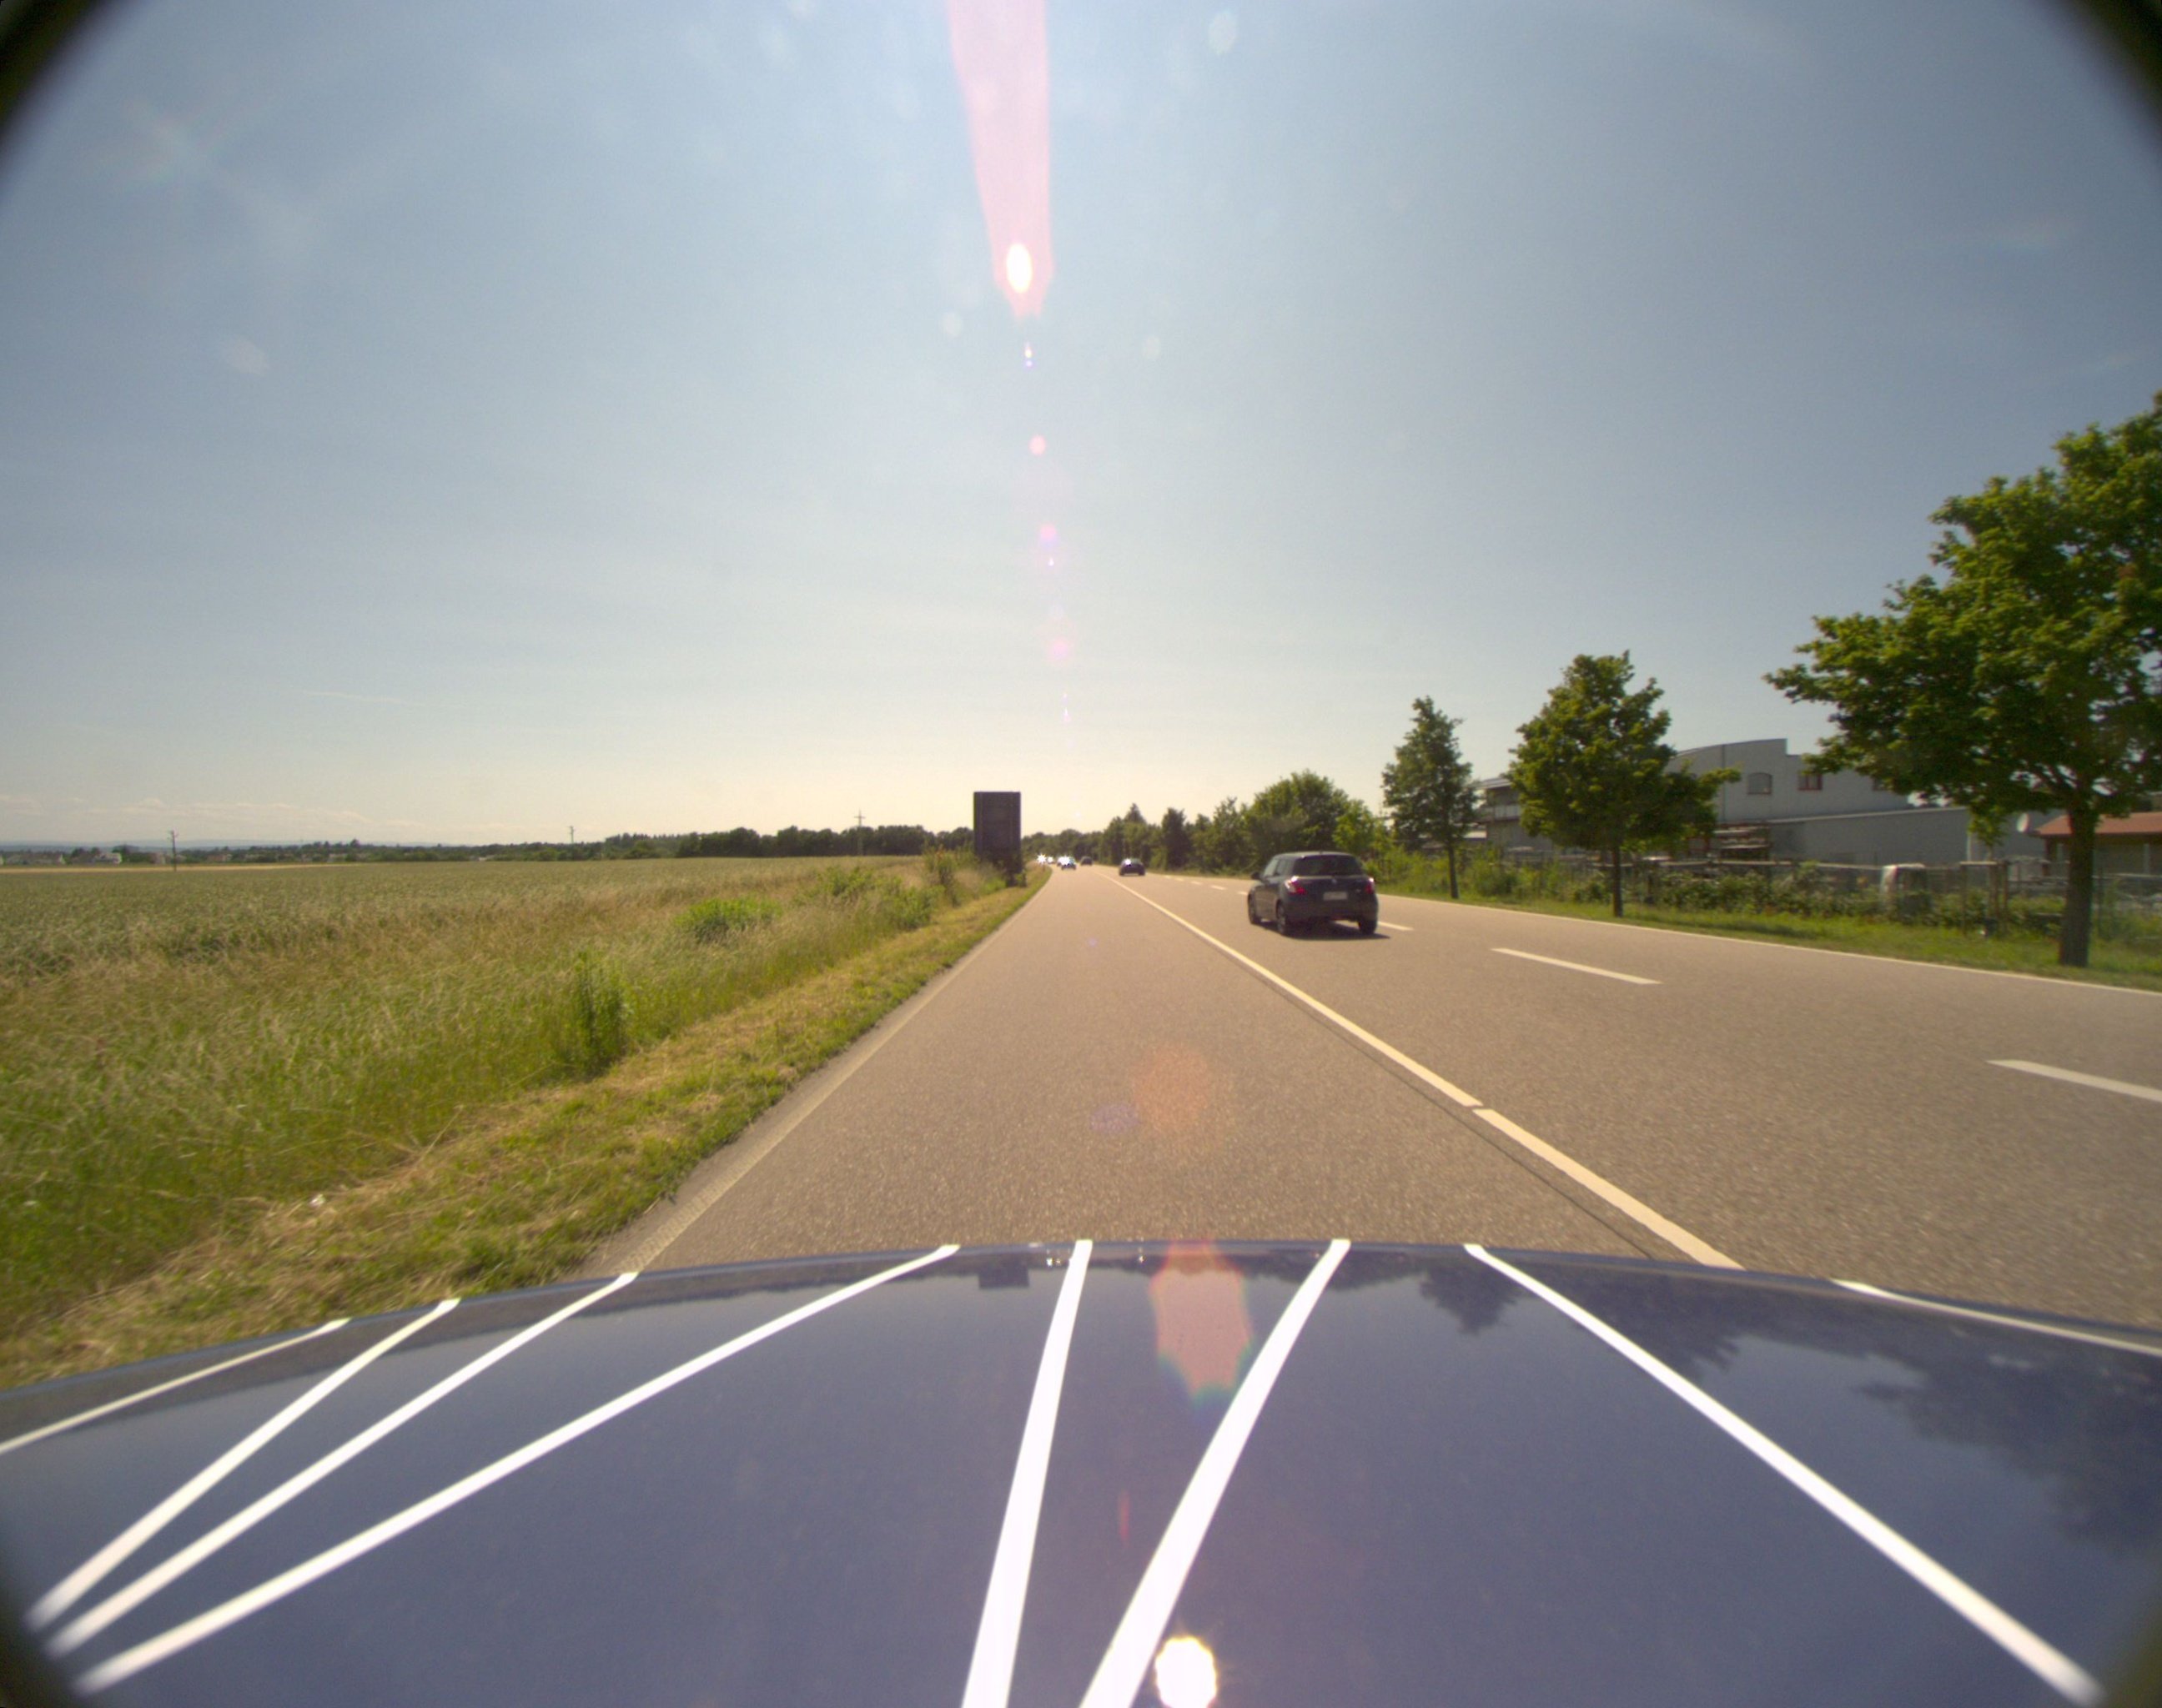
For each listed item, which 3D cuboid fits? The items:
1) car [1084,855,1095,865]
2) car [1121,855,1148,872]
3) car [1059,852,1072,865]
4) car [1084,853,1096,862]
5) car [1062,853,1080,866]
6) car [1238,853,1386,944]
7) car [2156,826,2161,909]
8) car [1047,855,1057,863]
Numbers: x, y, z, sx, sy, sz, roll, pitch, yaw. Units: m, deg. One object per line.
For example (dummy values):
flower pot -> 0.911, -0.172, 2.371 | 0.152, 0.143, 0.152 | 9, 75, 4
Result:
car -> 1.353, 0.940, 118.831 | 1.675, 1.417, 4.000 | 0, 1, 1
car -> 4.041, 0.703, 58.043 | 1.640, 1.261, 3.811 | -2, 0, -1
car -> -2.637, 0.766, 127.855 | 1.999, 2.002, 3.999 | -3, 0, -3
car -> 1.528, 0.615, 127.272 | 1.786, 1.412, 4.533 | -2, 1, -1
car -> -1.236, 0.665, 92.419 | 1.694, 1.431, 3.707 | -2, 0, -9
car -> 4.316, 0.755, 14.805 | 1.684, 1.490, 3.886 | -2, 0, 1
car -> 36.970, 0.447, 22.308 | 5.728, 2.707, 2.370 | 1, 0, 32
car -> -6.429, 1.019, 167.809 | 1.555, 1.659, 3.996 | -2, 1, -10
